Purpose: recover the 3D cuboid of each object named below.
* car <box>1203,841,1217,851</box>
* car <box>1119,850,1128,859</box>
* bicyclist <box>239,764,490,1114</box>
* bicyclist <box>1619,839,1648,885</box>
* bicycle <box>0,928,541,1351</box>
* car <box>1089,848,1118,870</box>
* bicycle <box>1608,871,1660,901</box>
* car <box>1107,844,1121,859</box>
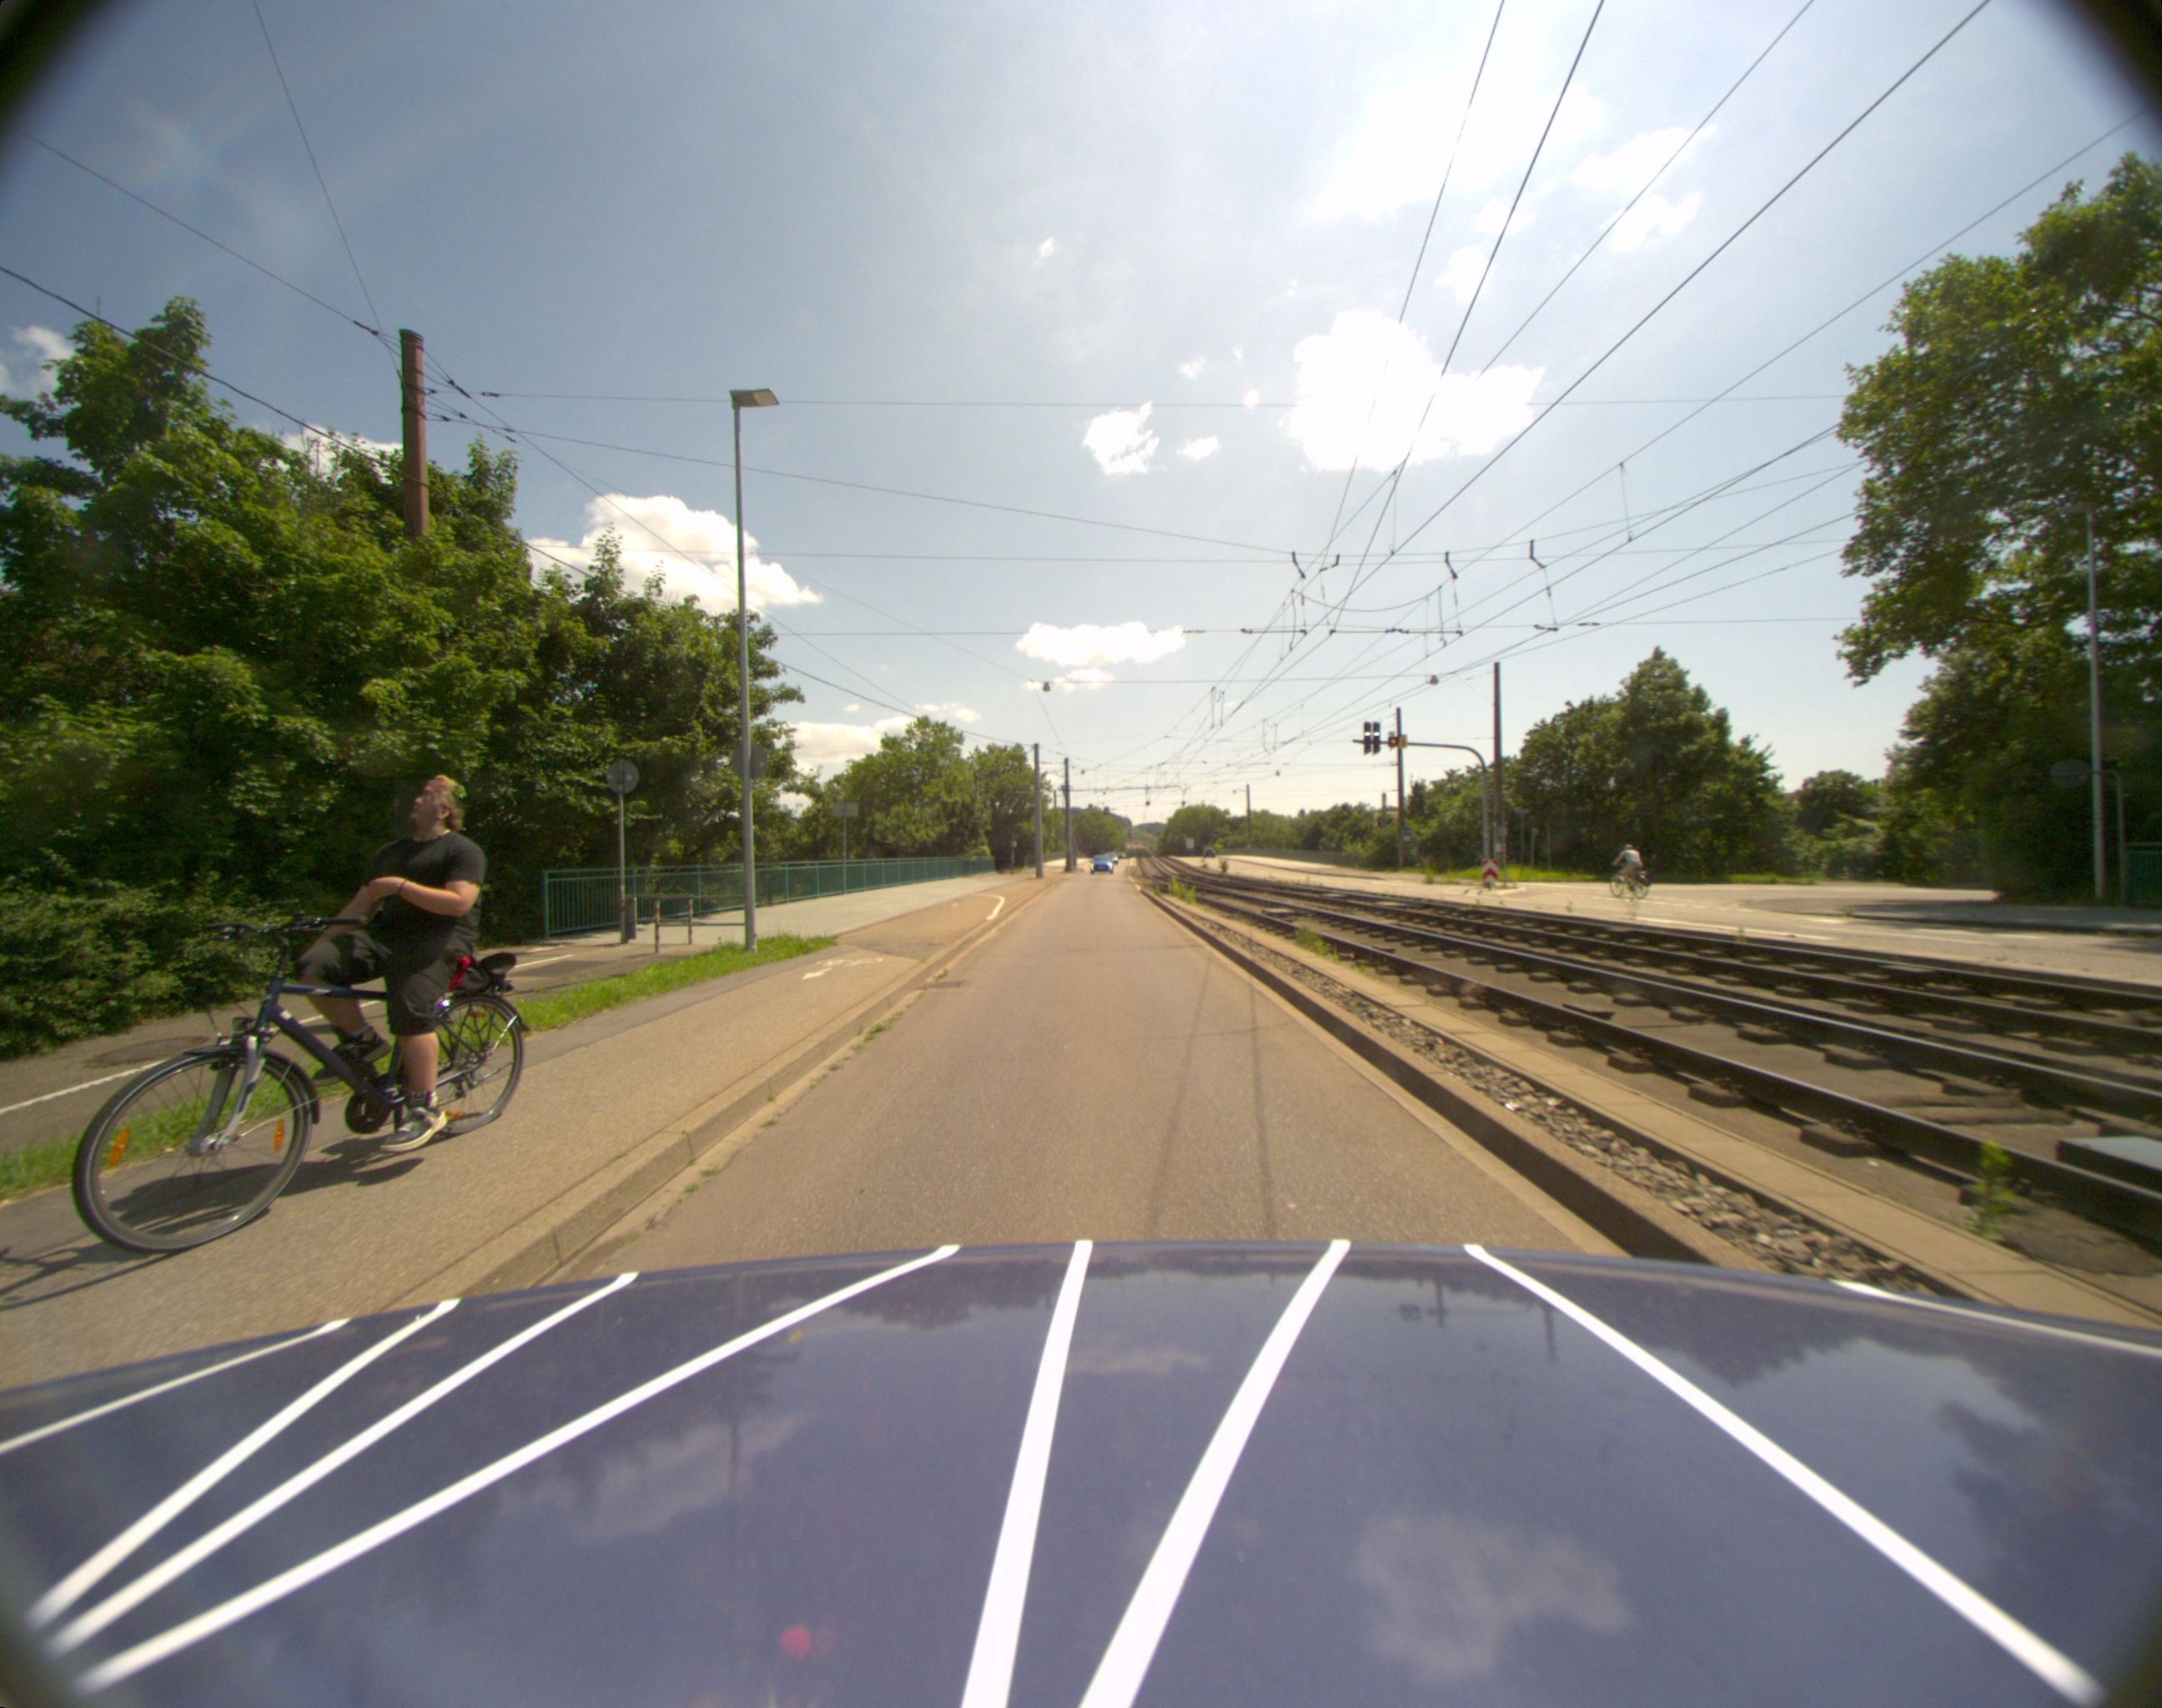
[{"bbox_3d":[20.083,-1.213,118.356,1.708,1.501,3.734,-1,1,5],"label":"car"},{"bbox_3d":[8.900,0.068,159.665,1.730,1.696,4.000,-1,0,1],"label":"car"},{"bbox_3d":[-3.307,0.374,3.550,0.586,1.486,0.558,-3,0,5],"label":"bicyclist"},{"bbox_3d":[17.908,0.252,24.643,0.457,1.465,0.633,-2,1,3],"label":"bicyclist"},{"bbox_3d":[-3.308,0.980,3.286,0.433,1.145,1.856,-3,-1,5],"label":"bicycle"},{"bbox_3d":[1.784,0.406,58.801,1.864,1.630,4.002,-2,-1,5],"label":"car"},{"bbox_3d":[17.934,1.021,24.676,0.470,0.863,1.743,-2,1,3],"label":"bicycle"},{"bbox_3d":[4.204,-0.281,97.937,1.683,1.737,3.686,-3,-1,2],"label":"car"}]
